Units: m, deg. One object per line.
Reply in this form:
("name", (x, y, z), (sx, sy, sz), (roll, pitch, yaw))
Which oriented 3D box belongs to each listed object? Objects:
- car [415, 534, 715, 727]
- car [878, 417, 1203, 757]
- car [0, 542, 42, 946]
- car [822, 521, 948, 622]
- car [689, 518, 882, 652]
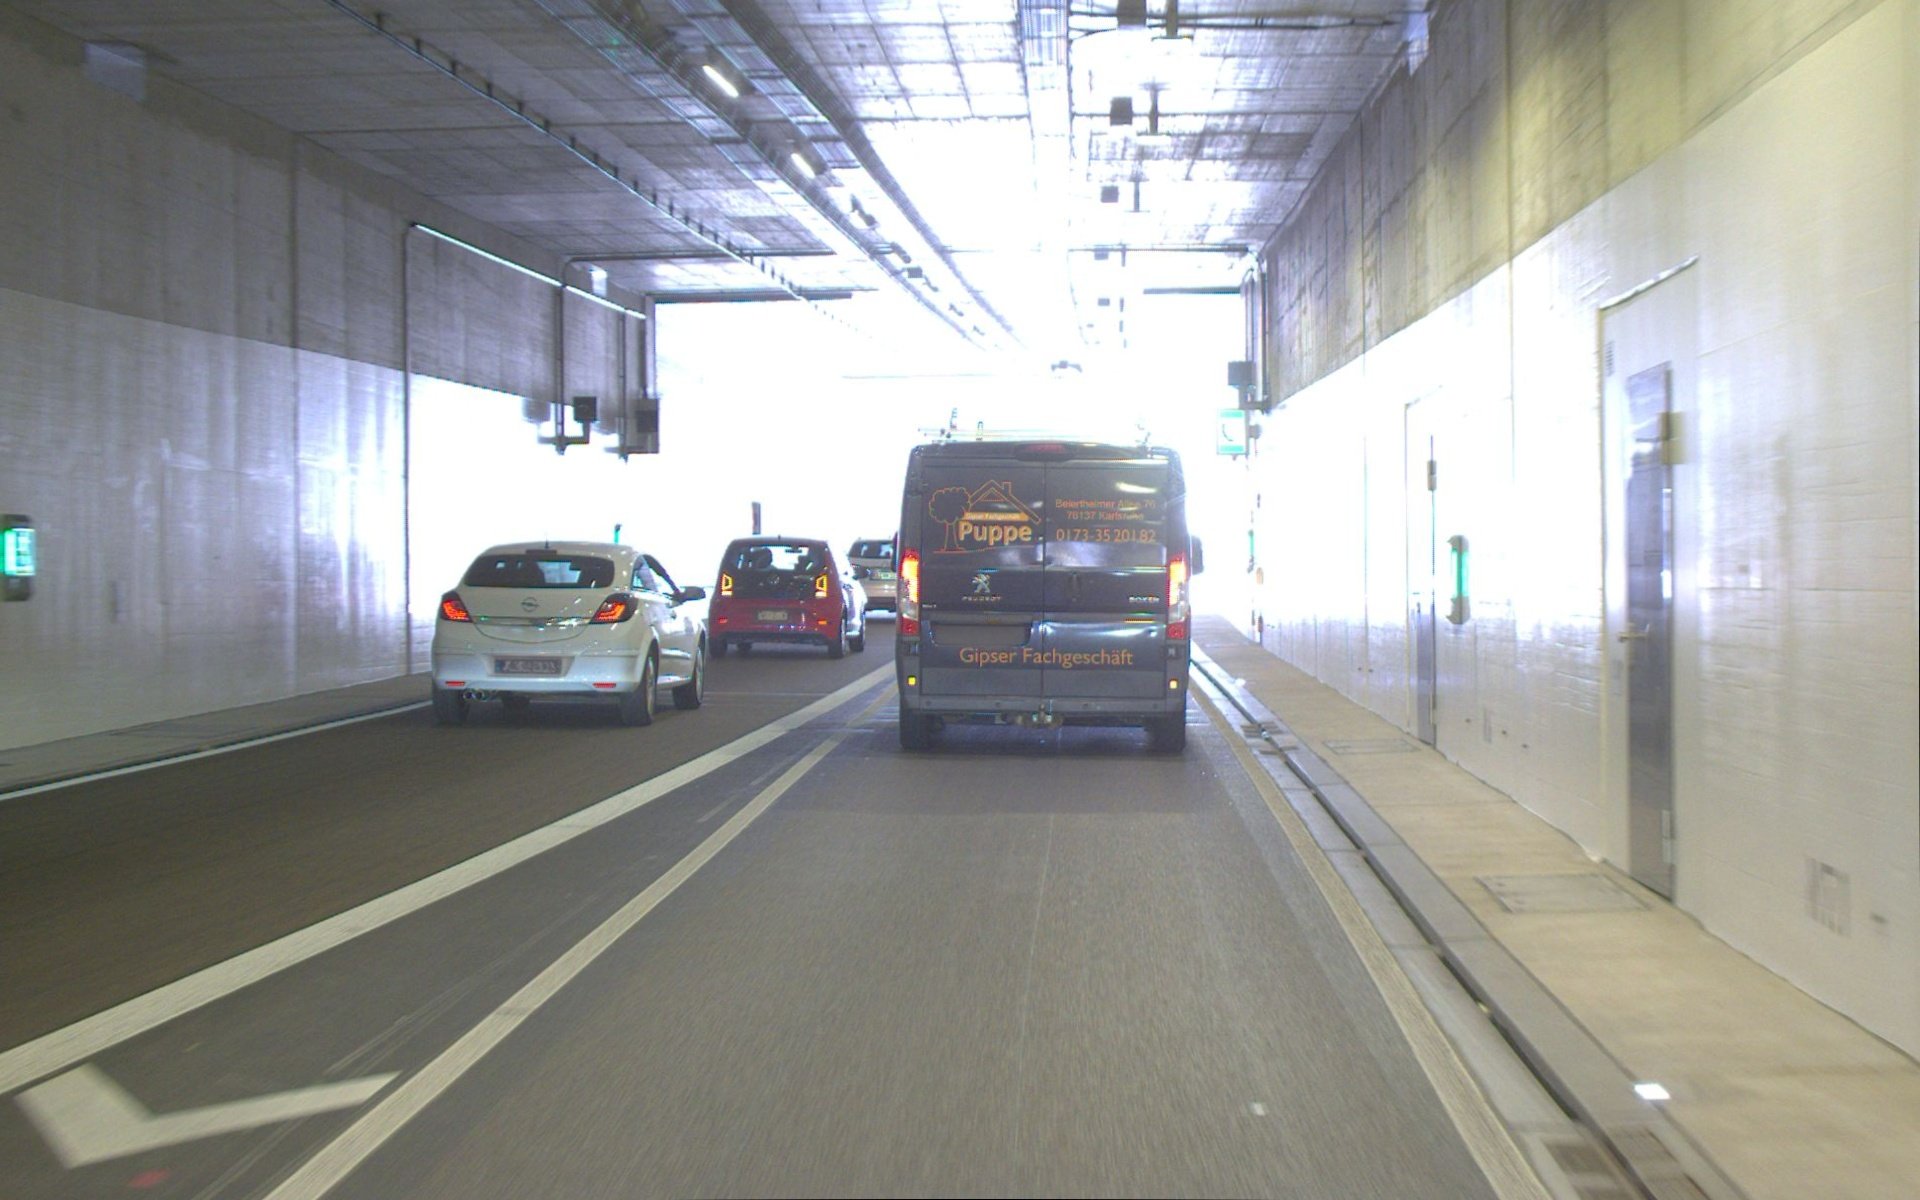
("car", (-3.119, 0.189, 27.872), (1.709, 1.408, 3.974), (1, 1, 4))
("car", (0.620, -0.145, 25.521), (2.158, 2.258, 4.637), (1, 1, 2))
("car", (-4.399, 0.526, 10.093), (1.696, 1.417, 4.850), (2, 1, 5))
("car", (-1.219, -0.463, 57.453), (1.876, 1.576, 4.220), (1, 0, 1))
("car", (-2.096, -0.223, 42.359), (1.815, 1.507, 4.220), (1, 2, 5))
